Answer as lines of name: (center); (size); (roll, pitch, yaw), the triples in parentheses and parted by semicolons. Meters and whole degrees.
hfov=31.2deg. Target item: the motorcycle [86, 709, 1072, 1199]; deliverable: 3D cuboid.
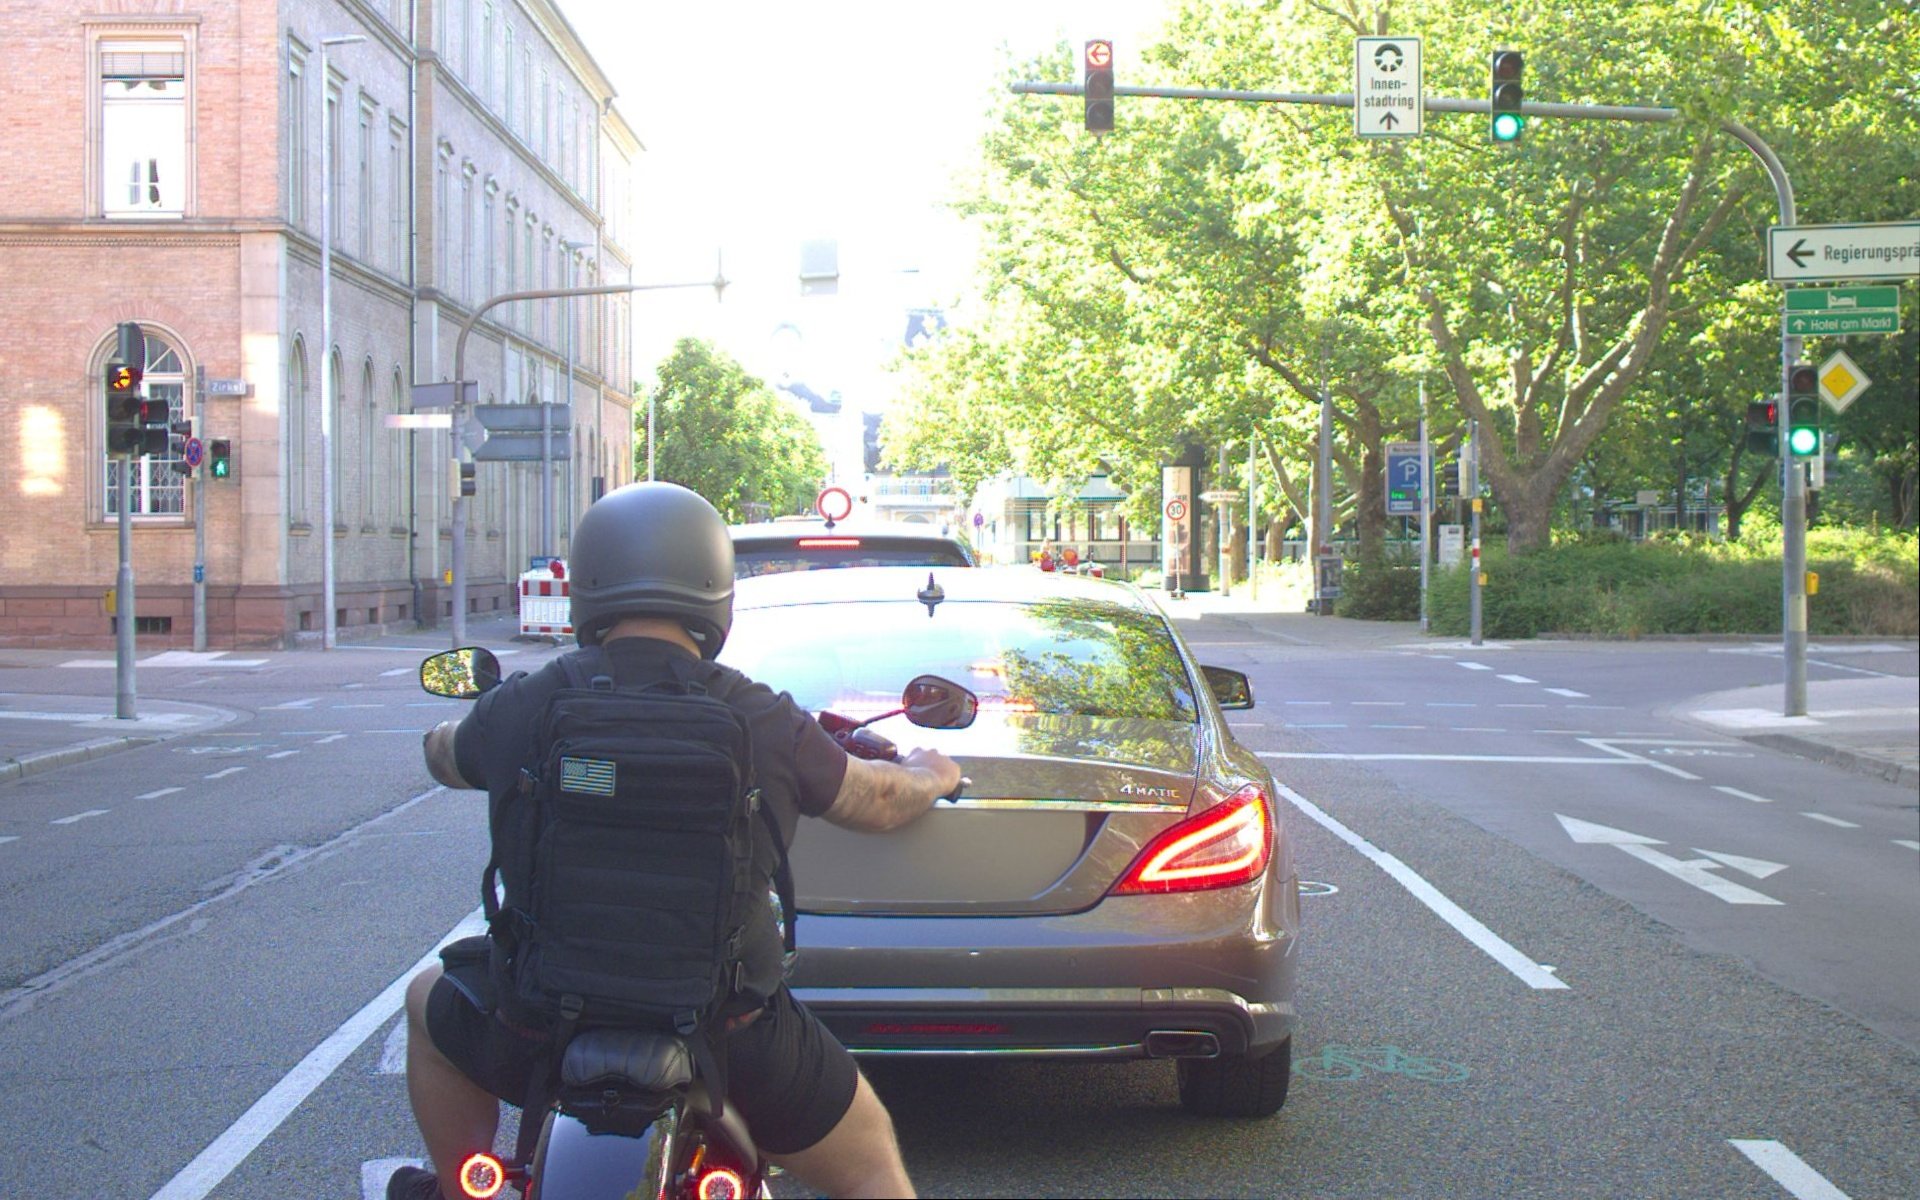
motorcycle: (-0.464, 0.831, 5.492); (1.118, 1.203, 2.212); (1, 1, 6)

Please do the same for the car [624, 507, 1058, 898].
car: (-0.540, 0.426, 16.934); (1.863, 1.672, 4.000); (1, 1, -1)

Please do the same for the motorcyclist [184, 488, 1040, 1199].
motorcyclist: (-0.478, 0.627, 5.269); (1.099, 1.560, 1.071); (1, 0, 6)

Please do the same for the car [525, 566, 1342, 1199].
car: (-0.081, 0.633, 9.657); (1.822, 1.432, 3.806); (1, 1, -1)
